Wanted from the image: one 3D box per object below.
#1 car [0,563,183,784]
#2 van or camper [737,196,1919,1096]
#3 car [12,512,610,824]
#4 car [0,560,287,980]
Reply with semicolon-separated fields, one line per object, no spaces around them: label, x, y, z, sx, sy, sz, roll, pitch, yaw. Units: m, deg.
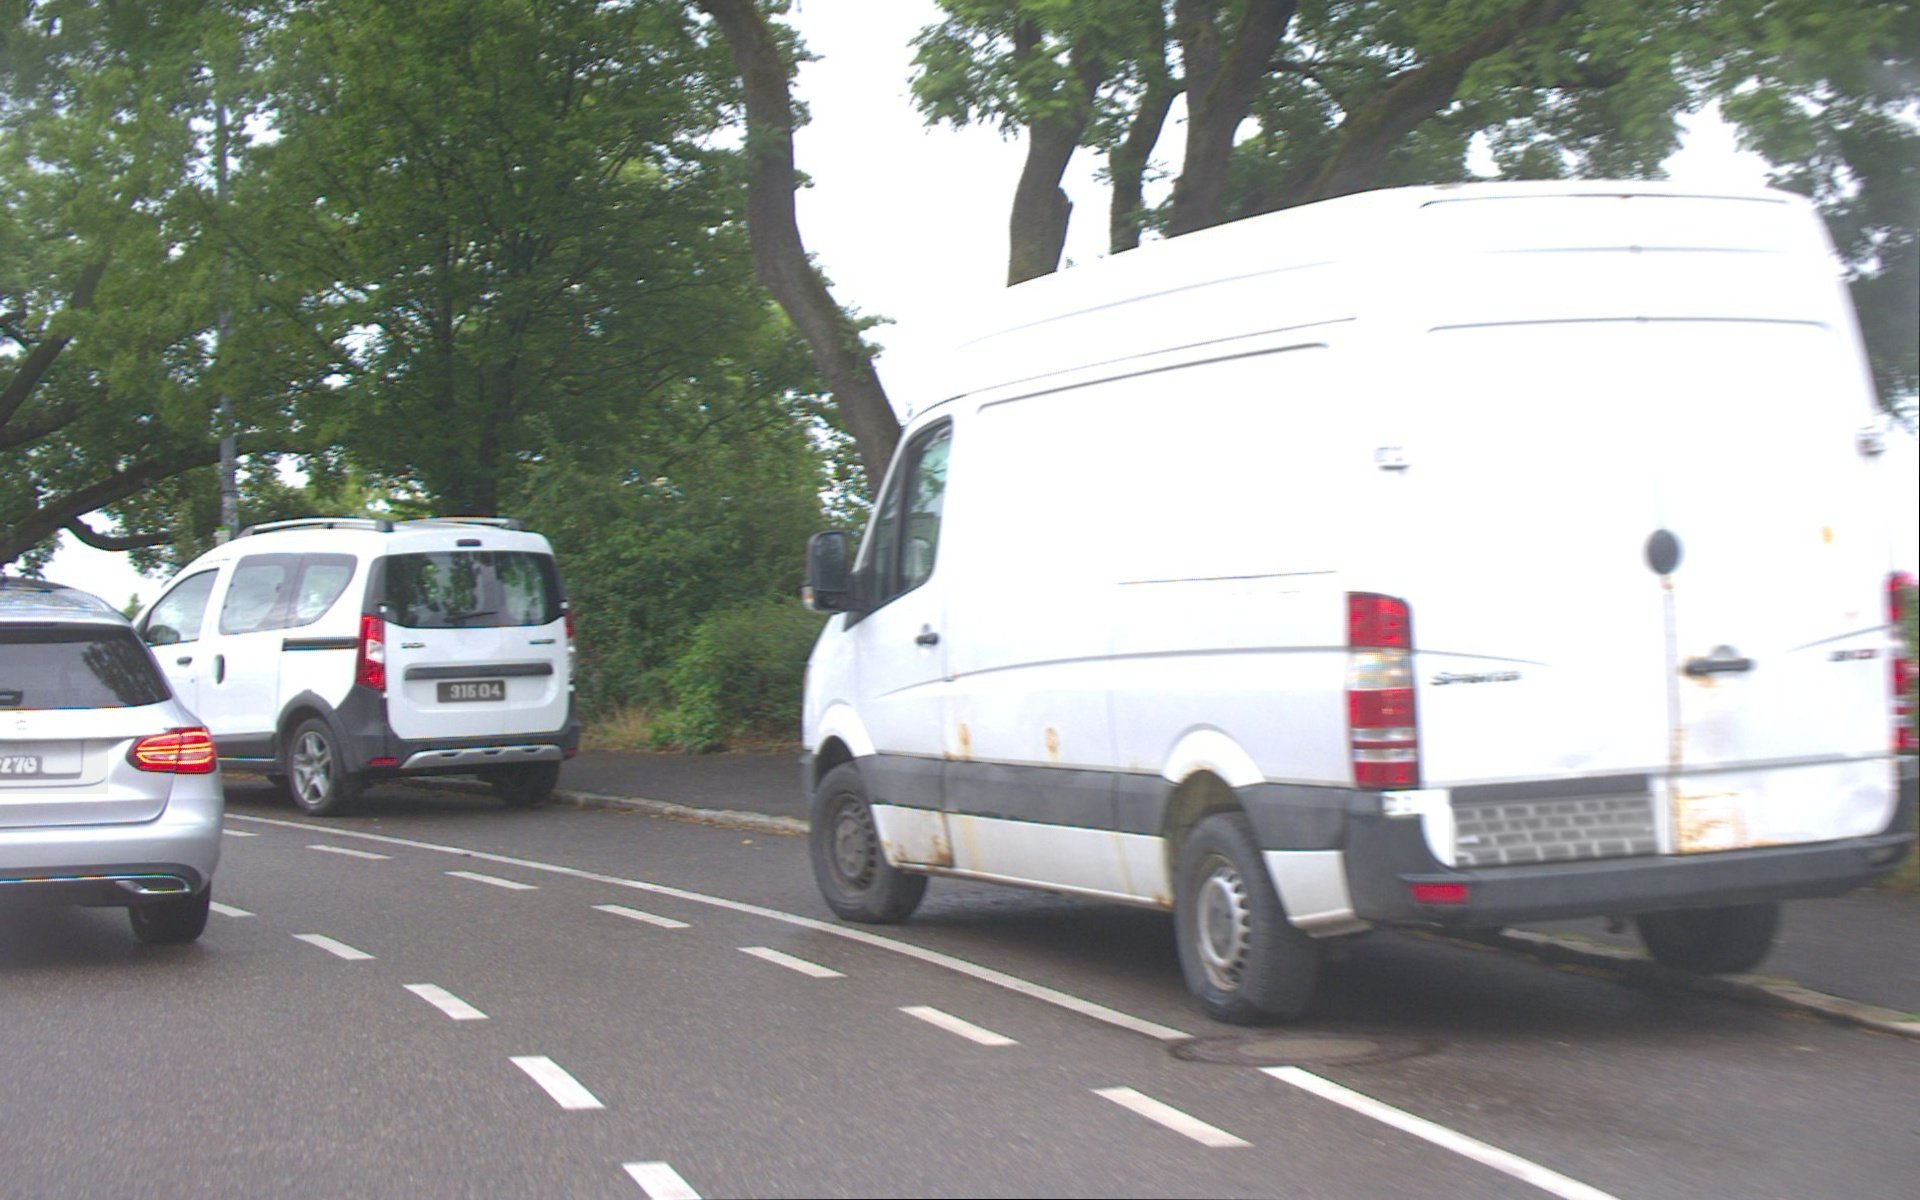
car;-8.188;0.540;26.922;1.861;1.537;4.892;-3;2;-43
van or camper;1.066;0.051;12.934;2.066;2.571;5.889;-3;2;-21
car;-4.376;0.400;22.713;1.748;1.815;4.421;-3;2;-43
car;-4.398;0.645;14.740;1.982;1.548;4.298;-1;0;-25
